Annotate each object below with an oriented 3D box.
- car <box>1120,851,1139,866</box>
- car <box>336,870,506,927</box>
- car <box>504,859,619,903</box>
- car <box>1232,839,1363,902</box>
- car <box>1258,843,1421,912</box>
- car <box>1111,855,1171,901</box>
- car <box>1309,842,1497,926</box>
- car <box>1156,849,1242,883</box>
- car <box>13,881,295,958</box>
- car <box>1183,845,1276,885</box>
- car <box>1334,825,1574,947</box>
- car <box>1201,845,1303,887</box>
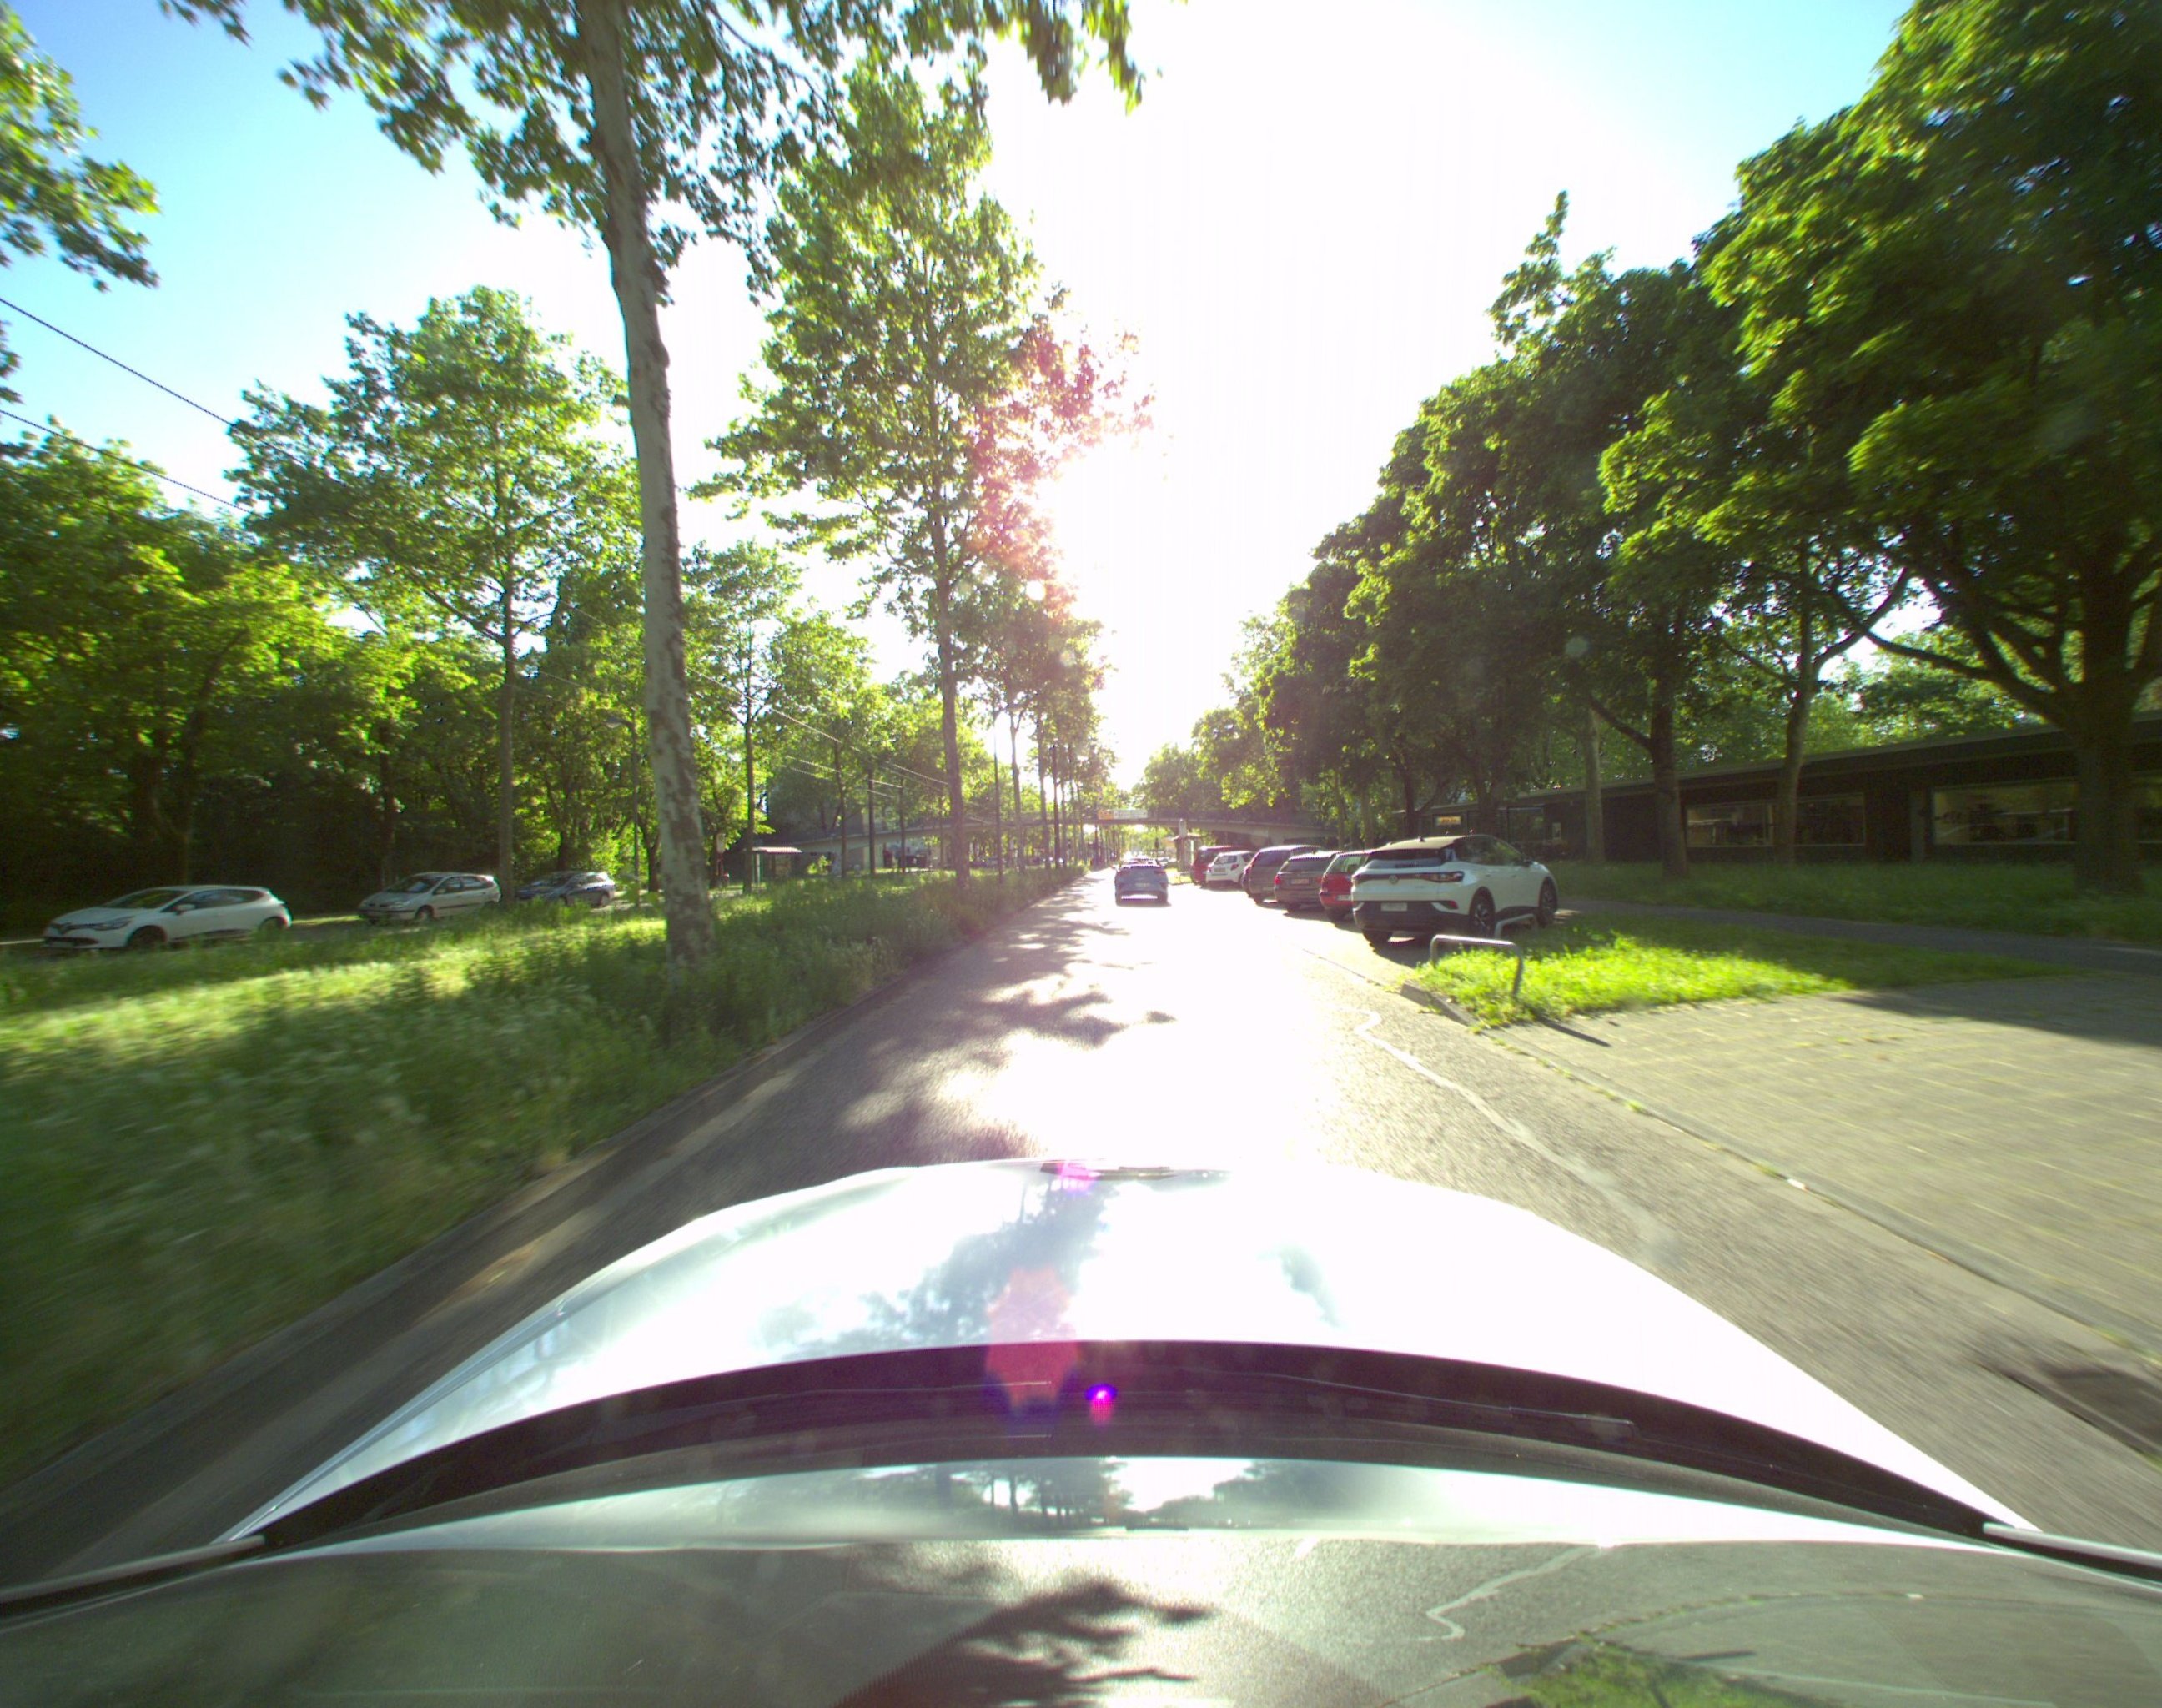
[{"bbox_3d":[5.400,0.478,91.357,1.986,1.651,4.002,-1,0,2],"label":"car"},{"bbox_3d":[-21.464,1.399,26.743,1.985,1.590,4.171,1,0,3],"label":"car"},{"bbox_3d":[-20.928,1.047,33.037,1.779,1.590,4.171,1,0,3],"label":"car"},{"bbox_3d":[6.741,0.475,25.018,1.833,1.680,4.639,-4,-2,43],"label":"car"},{"bbox_3d":[6.765,0.536,21.021,4.649,1.521,1.834,-2,0,-41],"label":"car"},{"bbox_3d":[2.031,0.771,28.239,1.914,1.411,4.003,-1,1,2],"label":"car"},{"bbox_3d":[7.017,0.543,17.485,4.649,1.570,1.835,-1,0,-41],"label":"car"},{"bbox_3d":[6.160,0.591,42.242,4.649,1.614,1.834,-1,0,-41],"label":"car"},{"bbox_3d":[-21.702,1.453,19.366,1.985,1.453,4.003,1,0,3],"label":"car"},{"bbox_3d":[7.054,0.481,38.402,4.649,1.768,1.834,-1,0,-41],"label":"car"},{"bbox_3d":[6.274,0.423,13.428,4.649,1.680,1.834,-1,0,-41],"label":"car"},{"bbox_3d":[7.419,0.479,35.057,4.649,1.680,1.834,-1,0,-41],"label":"car"}]
